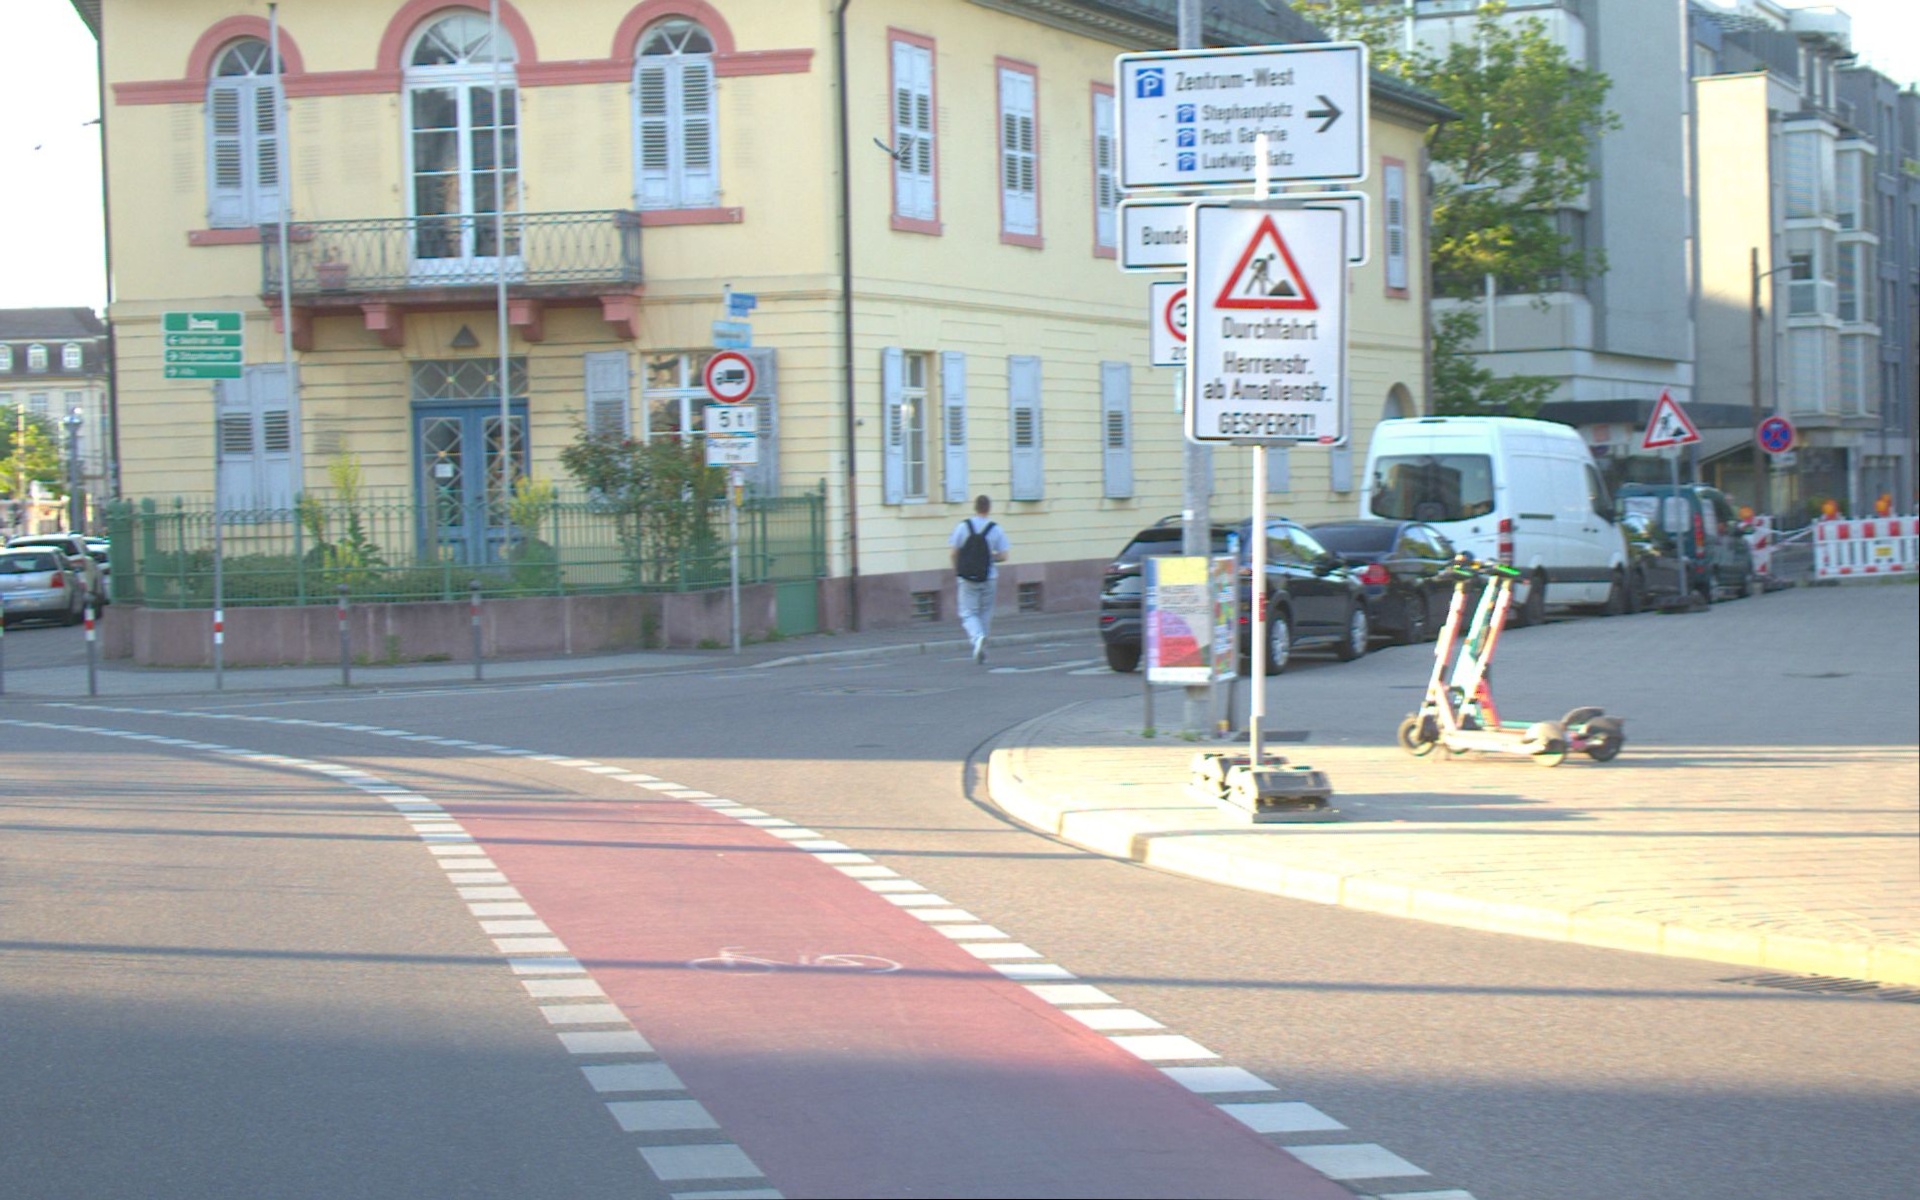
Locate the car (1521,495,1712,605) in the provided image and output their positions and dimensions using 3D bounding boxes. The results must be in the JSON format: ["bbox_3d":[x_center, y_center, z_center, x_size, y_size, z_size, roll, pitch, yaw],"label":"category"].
[{"bbox_3d":[9.360,-0.737,48.795,1.694,1.454,4.093,0,2,25],"label":"car"}]

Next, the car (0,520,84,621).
[{"bbox_3d":[-16.670,-0.519,61.509,1.731,1.702,3.440,-2,1,-12],"label":"car"}]

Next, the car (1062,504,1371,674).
[{"bbox_3d":[2.621,-0.152,34.128,1.780,1.538,4.286,0,2,23],"label":"car"}]

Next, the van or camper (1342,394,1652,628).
[{"bbox_3d":[6.970,-1.144,43.923,2.080,2.765,6.441,0,2,26],"label":"van or camper"}]

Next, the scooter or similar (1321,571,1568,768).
[{"bbox_3d":[2.960,0.417,21.038,1.402,1.162,0.460,0,2,32],"label":"scooter or similar"}]

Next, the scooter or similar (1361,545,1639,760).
[{"bbox_3d":[3.350,0.315,21.388,1.651,1.288,0.460,0,2,32],"label":"scooter or similar"}]

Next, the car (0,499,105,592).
[{"bbox_3d":[-17.550,-1.063,66.566,1.731,1.702,3.807,-2,1,-12],"label":"car"}]

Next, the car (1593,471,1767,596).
[{"bbox_3d":[11.116,-1.052,52.921,1.715,1.842,4.017,0,2,25],"label":"car"}]

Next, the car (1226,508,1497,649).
[{"bbox_3d":[4.559,-0.277,38.498,1.731,1.424,4.468,0,2,24],"label":"car"}]

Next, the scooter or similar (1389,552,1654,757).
[{"bbox_3d":[3.576,0.338,21.917,1.524,1.255,0.611,-1,2,32],"label":"scooter or similar"}]
